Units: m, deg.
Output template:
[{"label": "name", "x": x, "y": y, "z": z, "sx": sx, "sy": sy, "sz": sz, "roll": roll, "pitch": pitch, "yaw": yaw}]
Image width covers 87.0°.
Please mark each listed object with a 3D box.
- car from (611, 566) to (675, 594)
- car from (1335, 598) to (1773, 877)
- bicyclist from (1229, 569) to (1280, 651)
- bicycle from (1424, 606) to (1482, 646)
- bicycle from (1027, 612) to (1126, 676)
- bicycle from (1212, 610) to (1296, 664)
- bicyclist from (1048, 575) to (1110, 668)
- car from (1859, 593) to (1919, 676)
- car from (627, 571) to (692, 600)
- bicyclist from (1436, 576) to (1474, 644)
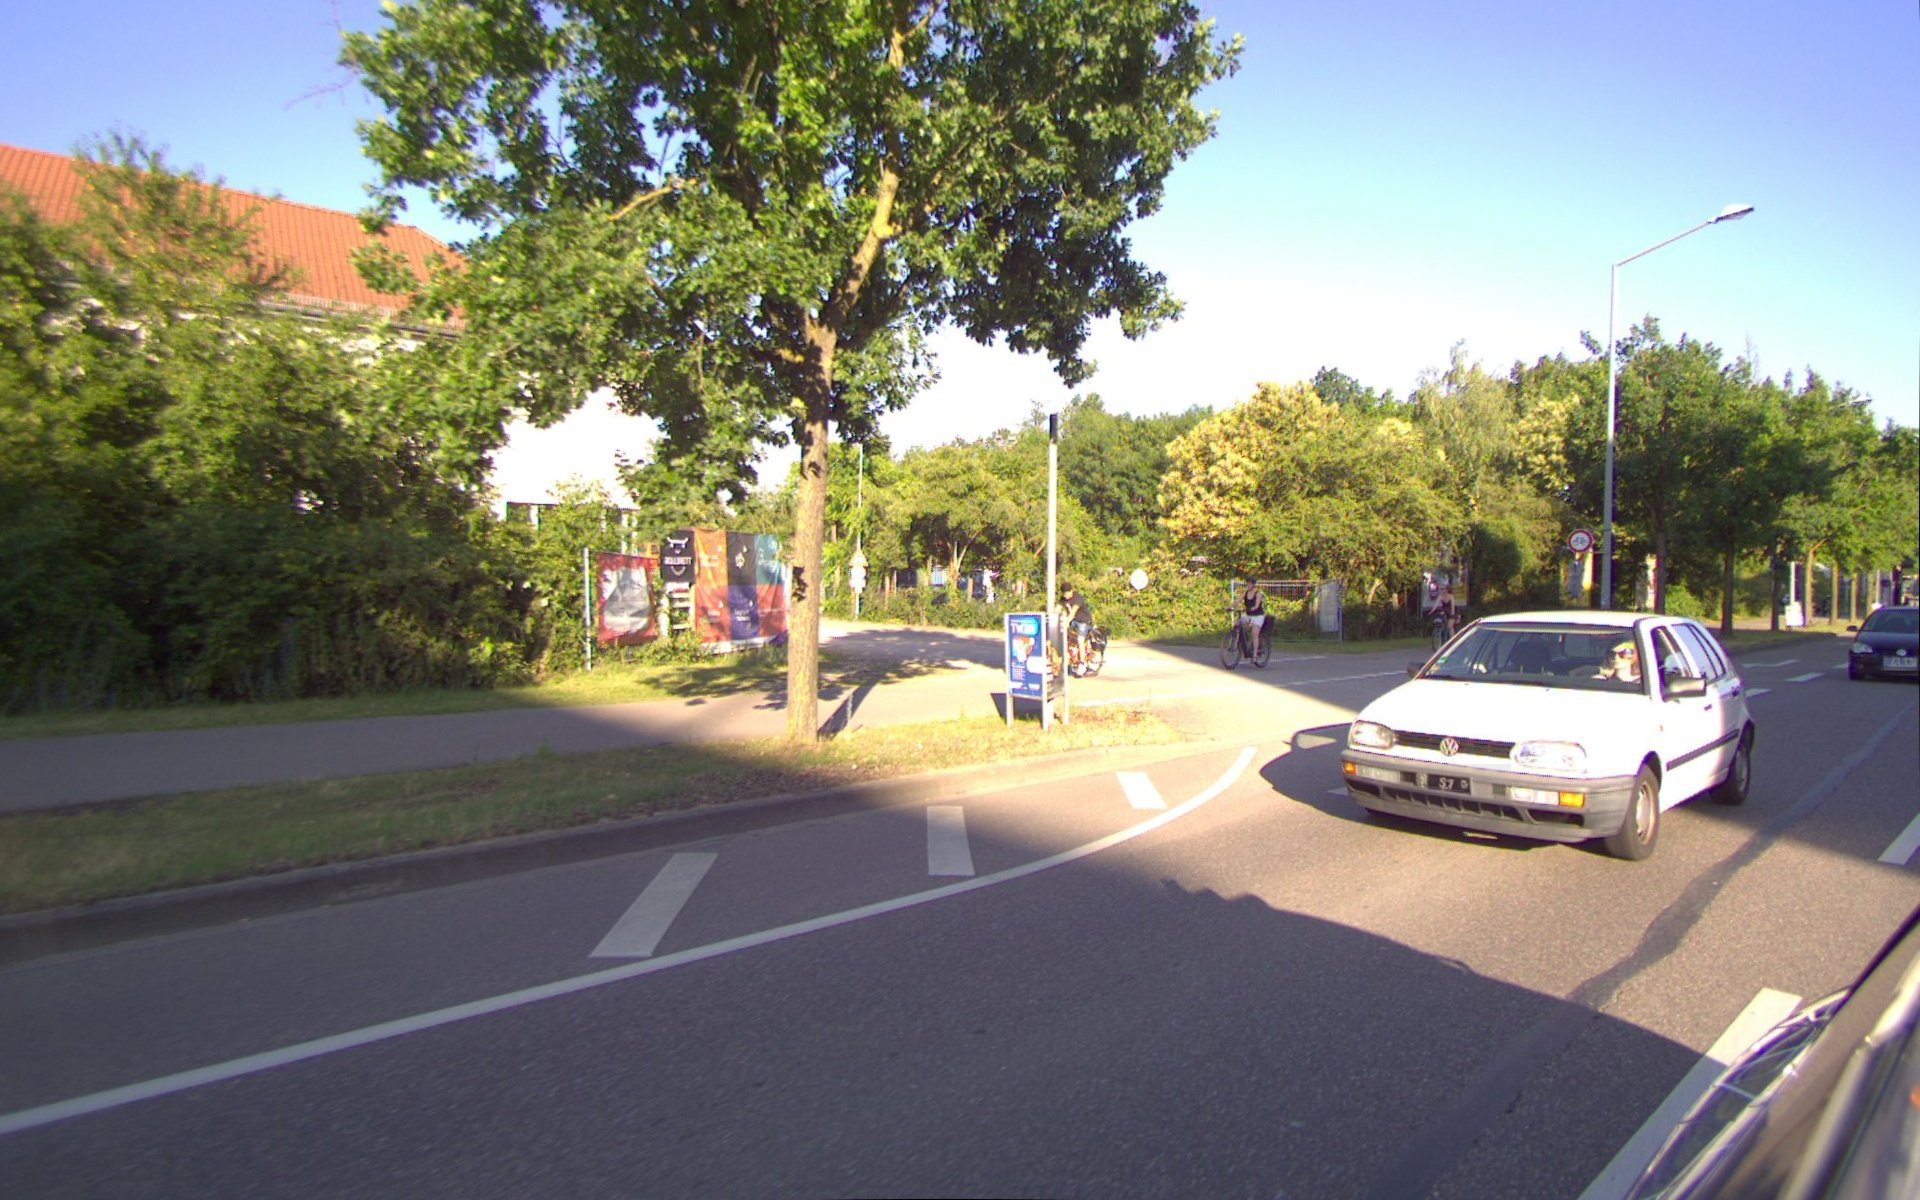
[{"label": "car", "x": -22.399, "y": -1.411, "z": 71.599, "sx": 3.867, "sy": 1.905, "sz": 1.917, "roll": 0, "pitch": 1, "yaw": -41}, {"label": "car", "x": 4.386, "y": 0.708, "z": 7.195, "sx": 3.970, "sy": 1.416, "sz": 1.613, "roll": 0, "pitch": 1, "yaw": -43}, {"label": "bicyclist", "x": 5.880, "y": 0.182, "z": 20.214, "sx": 0.833, "sy": 1.598, "sz": 0.604, "roll": 0, "pitch": 1, "yaw": -41}, {"label": "bicycle", "x": 12.963, "y": 0.669, "z": 26.581, "sx": 2.023, "sy": 0.986, "sz": 0.618, "roll": 0, "pitch": 1, "yaw": -41}, {"label": "bicycle", "x": 1.996, "y": 0.721, "z": 17.145, "sx": 1.790, "sy": 0.986, "sz": 0.618, "roll": 0, "pitch": 1, "yaw": -41}, {"label": "bicycle", "x": 5.900, "y": 0.722, "z": 20.250, "sx": 2.023, "sy": 0.986, "sz": 0.618, "roll": 0, "pitch": 1, "yaw": -41}, {"label": "bicyclist", "x": 2.018, "y": 0.351, "z": 17.154, "sx": 0.833, "sy": 1.520, "sz": 0.614, "roll": 0, "pitch": 1, "yaw": -41}, {"label": "car", "x": 19.076, "y": 0.630, "z": 19.965, "sx": 4.144, "sy": 1.518, "sz": 1.722, "roll": 0, "pitch": 0, "yaw": -44}, {"label": "car", "x": -20.490, "y": -0.988, "z": 69.079, "sx": 3.851, "sy": 1.905, "sz": 1.933, "roll": 0, "pitch": 1, "yaw": -41}, {"label": "bicyclist", "x": 13.042, "y": 0.241, "z": 26.642, "sx": 0.833, "sy": 1.755, "sz": 0.604, "roll": 0, "pitch": 1, "yaw": -41}]
